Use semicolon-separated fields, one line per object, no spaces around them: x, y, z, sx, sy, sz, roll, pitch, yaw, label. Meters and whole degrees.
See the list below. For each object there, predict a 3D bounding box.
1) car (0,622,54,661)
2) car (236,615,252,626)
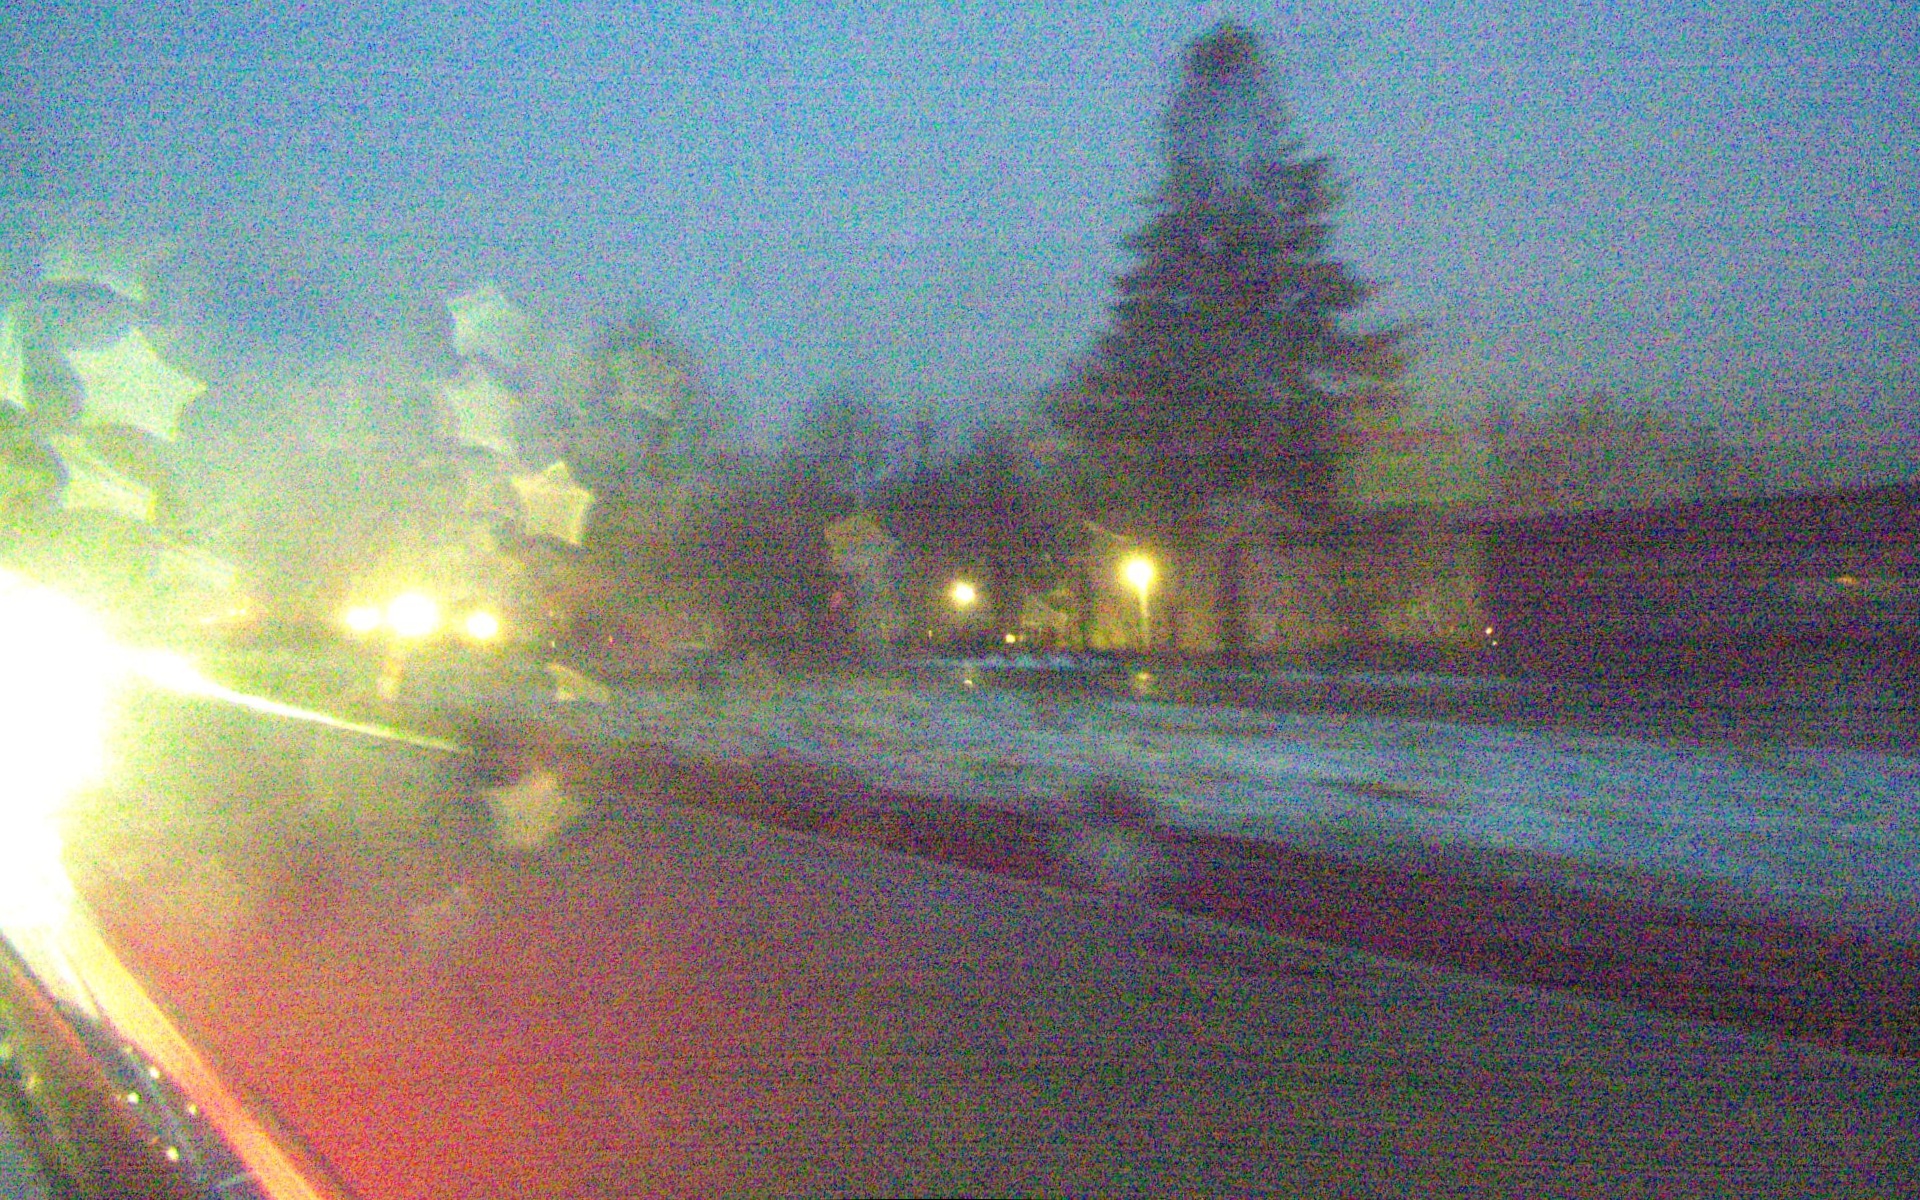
-43.941;1.920;47.577;1.930;1.735;4.006;1;-1;-41;car
-104.081;2.953;147.134;1.711;1.554;4.011;-1;0;-32;car
